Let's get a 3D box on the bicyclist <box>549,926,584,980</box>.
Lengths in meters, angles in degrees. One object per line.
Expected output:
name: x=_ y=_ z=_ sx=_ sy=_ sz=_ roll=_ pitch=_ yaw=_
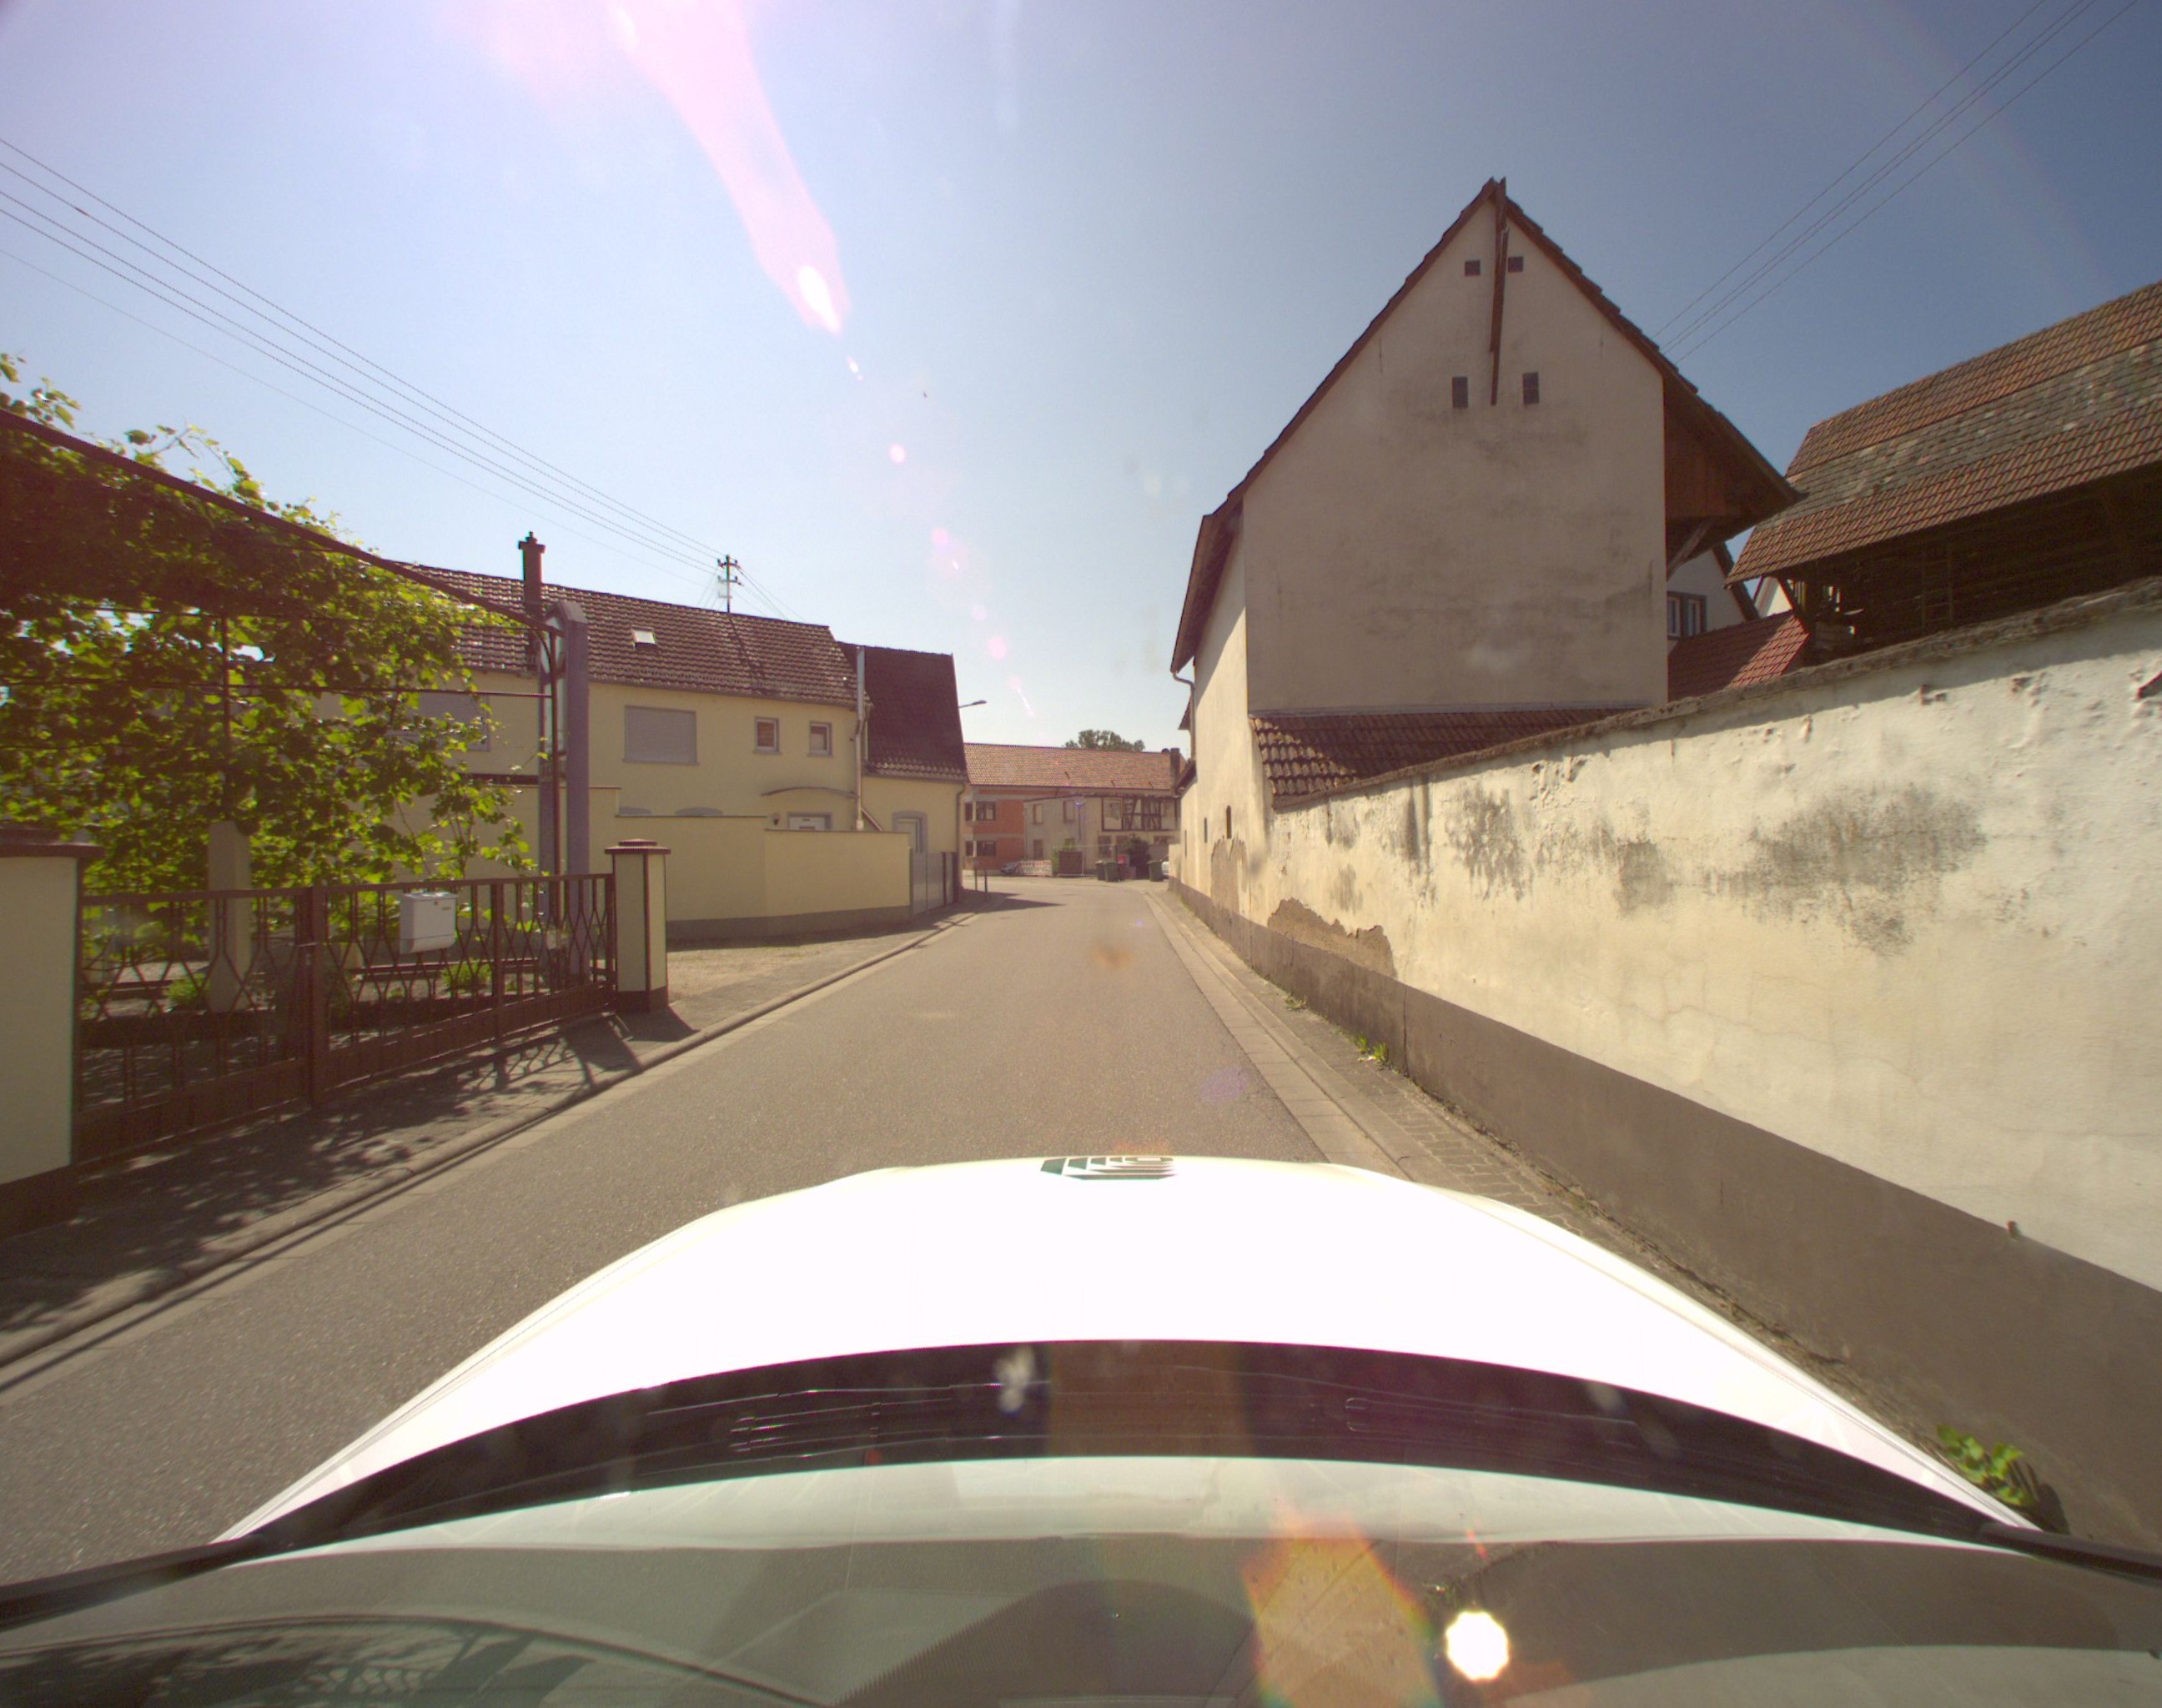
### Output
bicyclist: x=-5.759 y=1.104 z=9.118 sx=0.244 sy=0.582 sz=0.219 roll=-1 pitch=-1 yaw=17

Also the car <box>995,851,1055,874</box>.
car: x=-4.187 y=0.625 z=61.559 sx=4.118 sy=1.507 sz=1.850 roll=-2 pitch=0 yaw=-34

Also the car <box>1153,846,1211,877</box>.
car: x=5.493 y=0.385 z=44.836 sx=1.812 sy=1.528 sz=4.277 roll=-2 pitch=0 yaw=-13

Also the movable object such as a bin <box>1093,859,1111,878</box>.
movable object such as a bin: x=1.172 y=0.800 z=45.460 sx=0.664 sy=1.072 sz=0.766 roll=-1 pitch=0 yaw=29

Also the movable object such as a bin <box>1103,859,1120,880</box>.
movable object such as a bin: x=1.624 y=0.819 z=43.142 sx=0.689 sy=1.092 sz=0.633 roll=-1 pitch=0 yaw=-21

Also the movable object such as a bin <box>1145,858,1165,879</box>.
movable object such as a bin: x=3.827 y=0.735 z=42.059 sx=0.723 sy=1.081 sz=0.749 roll=-1 pitch=0 yaw=-24

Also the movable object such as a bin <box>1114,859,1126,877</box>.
movable object such as a bin: x=2.148 y=0.757 z=44.532 sx=0.466 sy=0.970 sz=0.493 roll=-1 pitch=0 yaw=-21

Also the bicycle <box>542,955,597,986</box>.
bicycle: x=-5.725 y=1.301 z=9.111 sx=0.529 sy=0.305 sz=0.221 roll=-1 pitch=-1 yaw=17
